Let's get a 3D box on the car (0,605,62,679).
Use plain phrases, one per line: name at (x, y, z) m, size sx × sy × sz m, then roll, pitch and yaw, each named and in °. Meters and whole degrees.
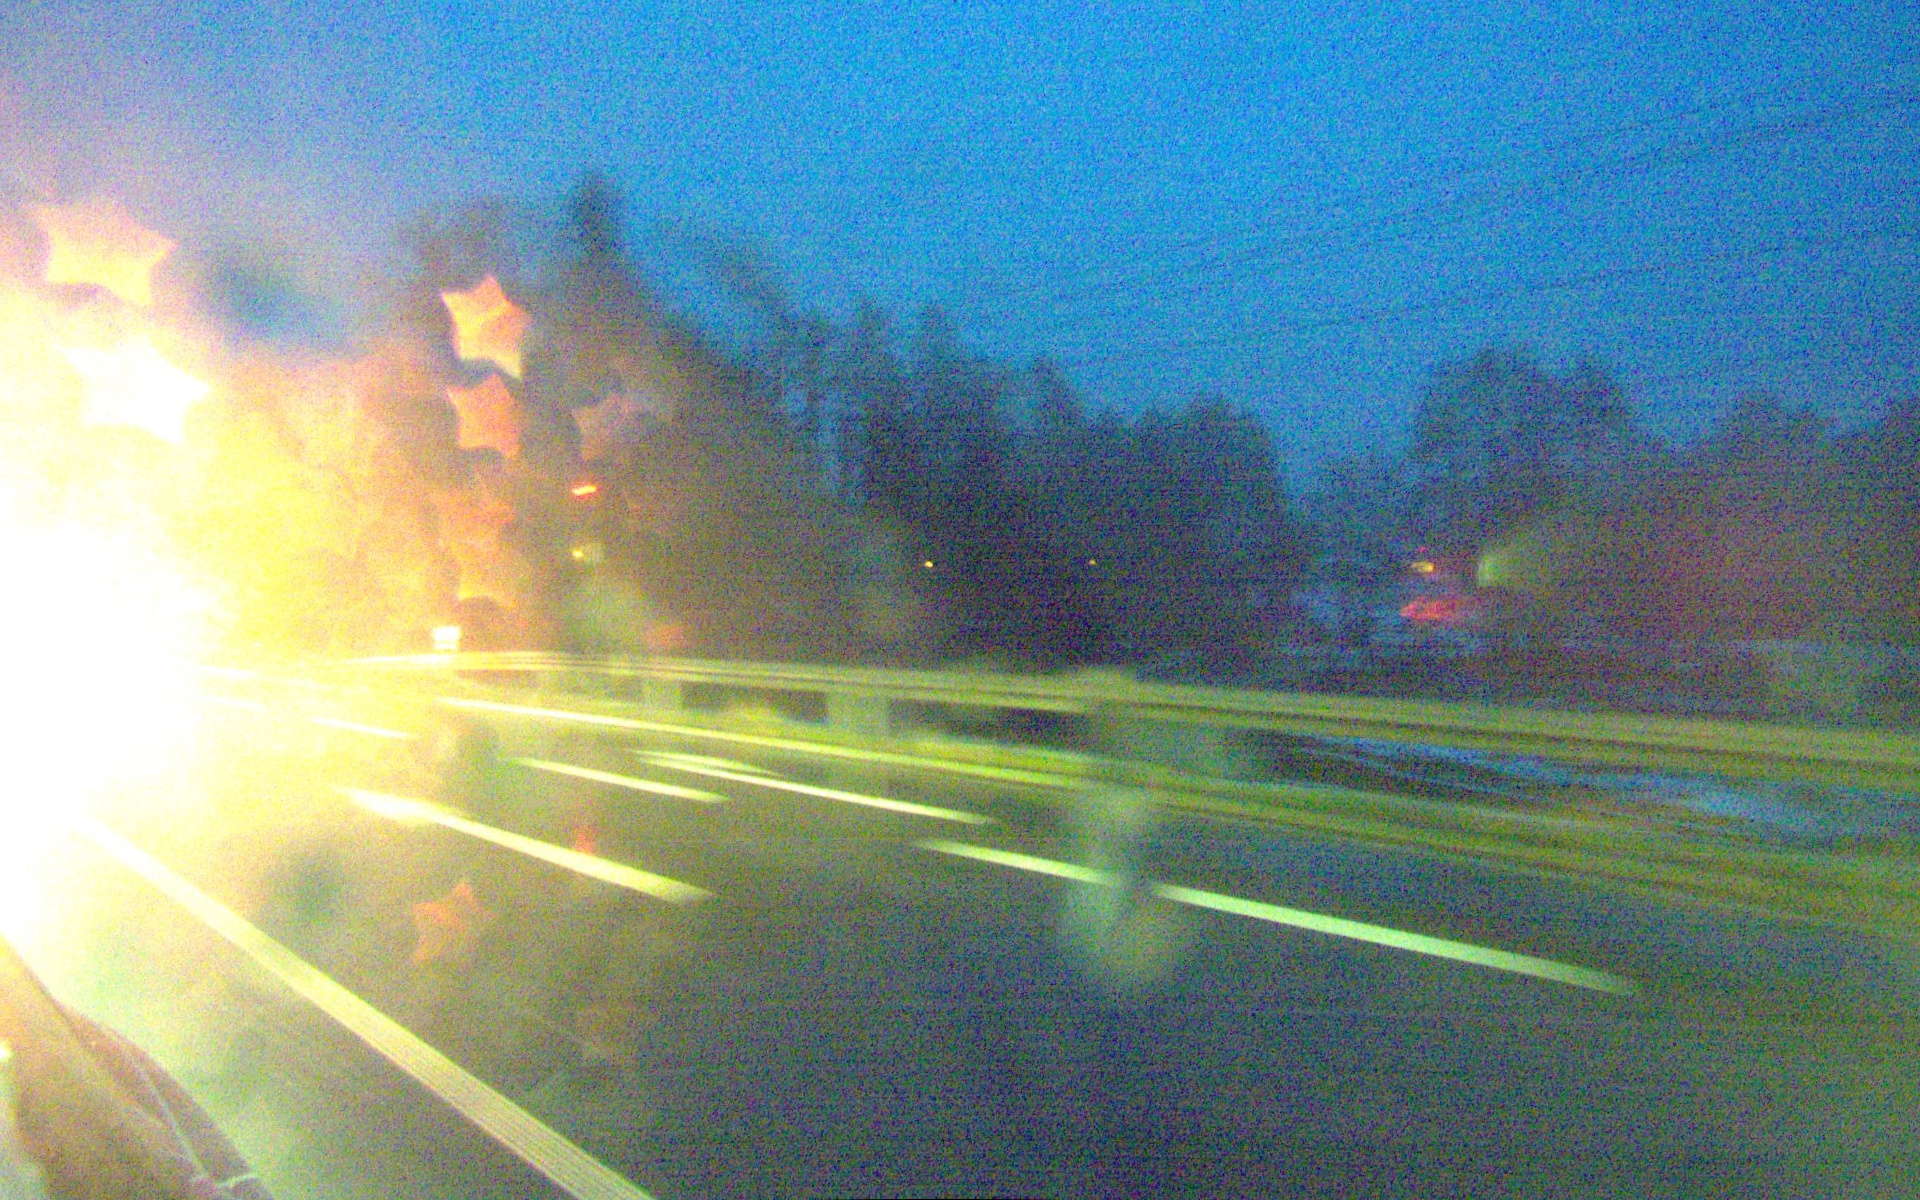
car at (-21.949, 0.945, 23.082) m, size 4.001 × 1.598 × 1.867 m, roll -2°, pitch -3°, yaw 44°
